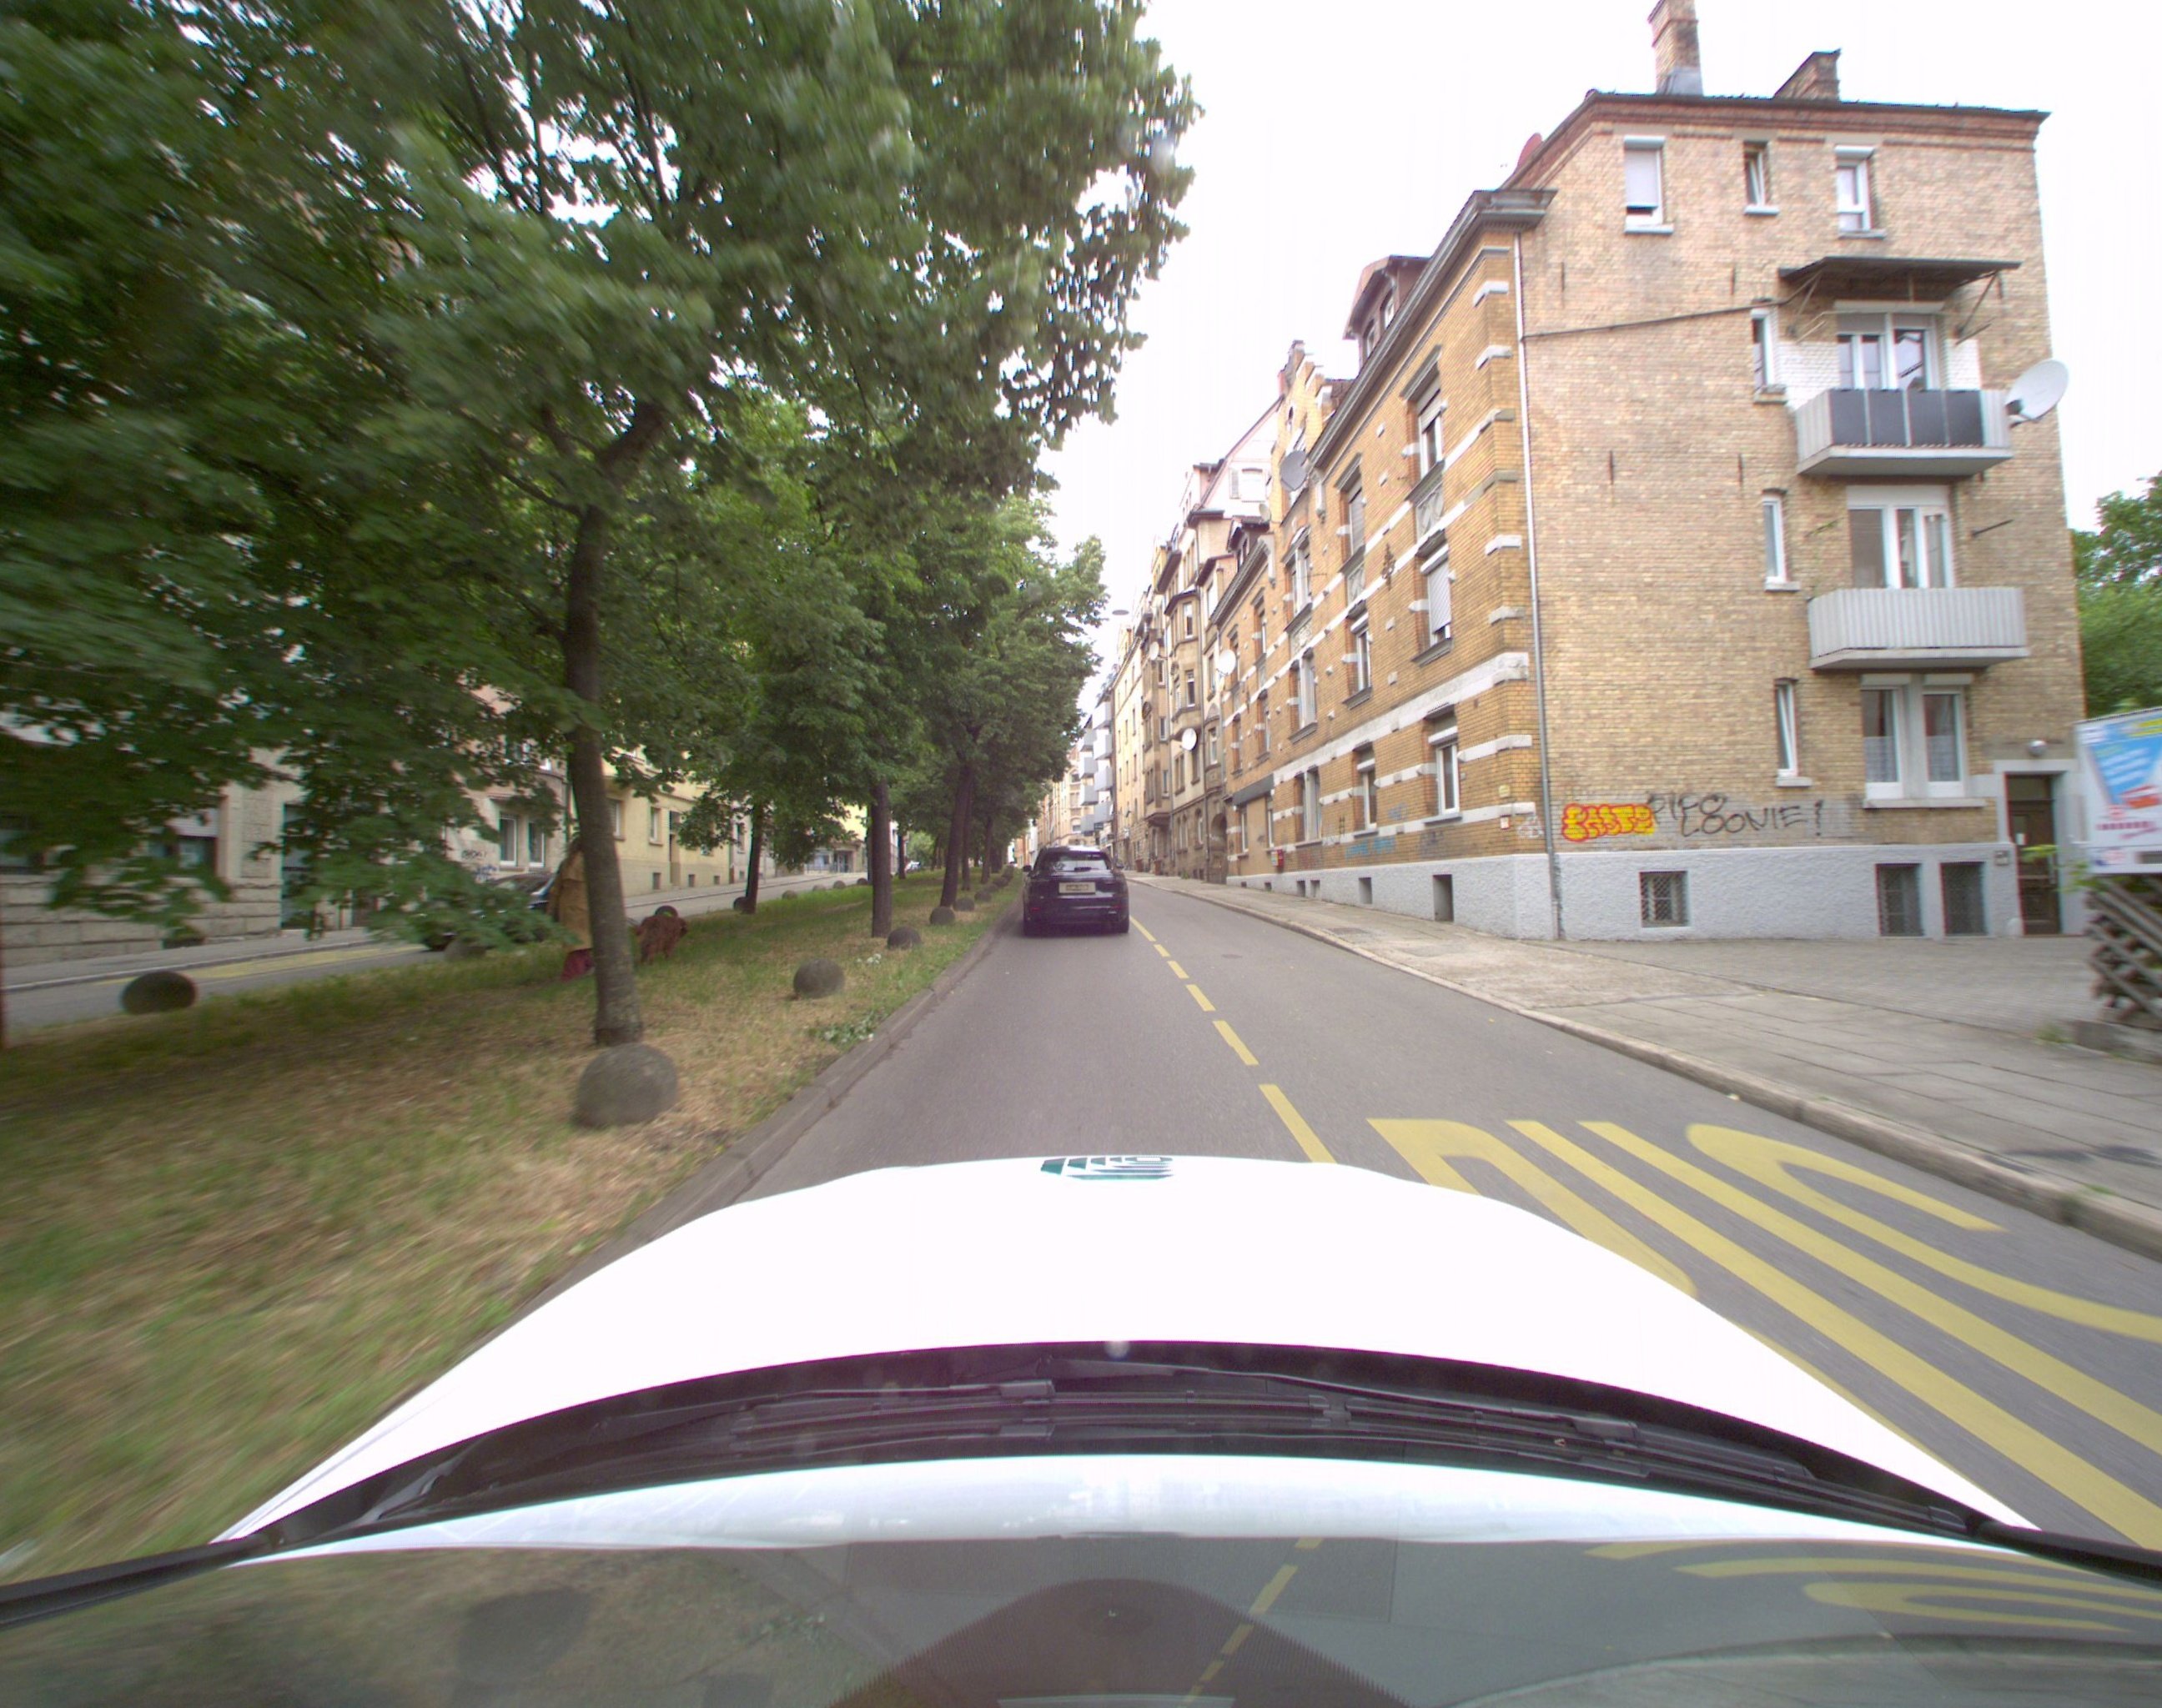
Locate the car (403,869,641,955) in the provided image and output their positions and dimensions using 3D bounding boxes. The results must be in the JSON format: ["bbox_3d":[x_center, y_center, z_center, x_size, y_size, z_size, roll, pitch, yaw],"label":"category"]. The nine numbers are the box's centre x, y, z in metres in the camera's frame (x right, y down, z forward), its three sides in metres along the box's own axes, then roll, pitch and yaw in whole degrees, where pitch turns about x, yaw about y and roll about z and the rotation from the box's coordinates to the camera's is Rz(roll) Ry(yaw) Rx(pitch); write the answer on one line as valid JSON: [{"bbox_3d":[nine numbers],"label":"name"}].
[{"bbox_3d":[-11.800,1.137,17.695,1.751,1.382,4.671,-3,1,2],"label":"car"}]

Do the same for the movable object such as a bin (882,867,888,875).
[{"bbox_3d":[-25.811,2.278,107.388,0.692,1.060,0.687,0,-3,-11],"label":"movable object such as a bin"}]

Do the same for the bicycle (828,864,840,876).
[{"bbox_3d":[-23.981,1.554,78.954,0.766,1.085,2.018,1,-3,-27],"label":"bicycle"}]

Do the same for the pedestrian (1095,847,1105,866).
[{"bbox_3d":[1.765,0.218,74.825,0.750,1.693,0.857,-2,-2,-4],"label":"pedestrian"}]

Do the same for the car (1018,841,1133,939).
[{"bbox_3d":[-0.119,0.641,16.355,1.987,1.665,3.999,-2,0,-1],"label":"car"}]

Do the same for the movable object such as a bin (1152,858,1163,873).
[{"bbox_3d":[4.516,0.689,48.136,0.593,0.904,0.562,-1,-1,-4],"label":"movable object such as a bin"}]

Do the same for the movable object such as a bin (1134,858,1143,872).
[{"bbox_3d":[3.996,0.758,56.611,0.593,0.904,0.502,0,-4,-4],"label":"movable object such as a bin"}]

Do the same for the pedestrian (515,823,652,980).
[{"bbox_3d":[-5.931,0.549,9.777,0.830,1.712,1.123,-5,-2,1],"label":"pedestrian"}]
